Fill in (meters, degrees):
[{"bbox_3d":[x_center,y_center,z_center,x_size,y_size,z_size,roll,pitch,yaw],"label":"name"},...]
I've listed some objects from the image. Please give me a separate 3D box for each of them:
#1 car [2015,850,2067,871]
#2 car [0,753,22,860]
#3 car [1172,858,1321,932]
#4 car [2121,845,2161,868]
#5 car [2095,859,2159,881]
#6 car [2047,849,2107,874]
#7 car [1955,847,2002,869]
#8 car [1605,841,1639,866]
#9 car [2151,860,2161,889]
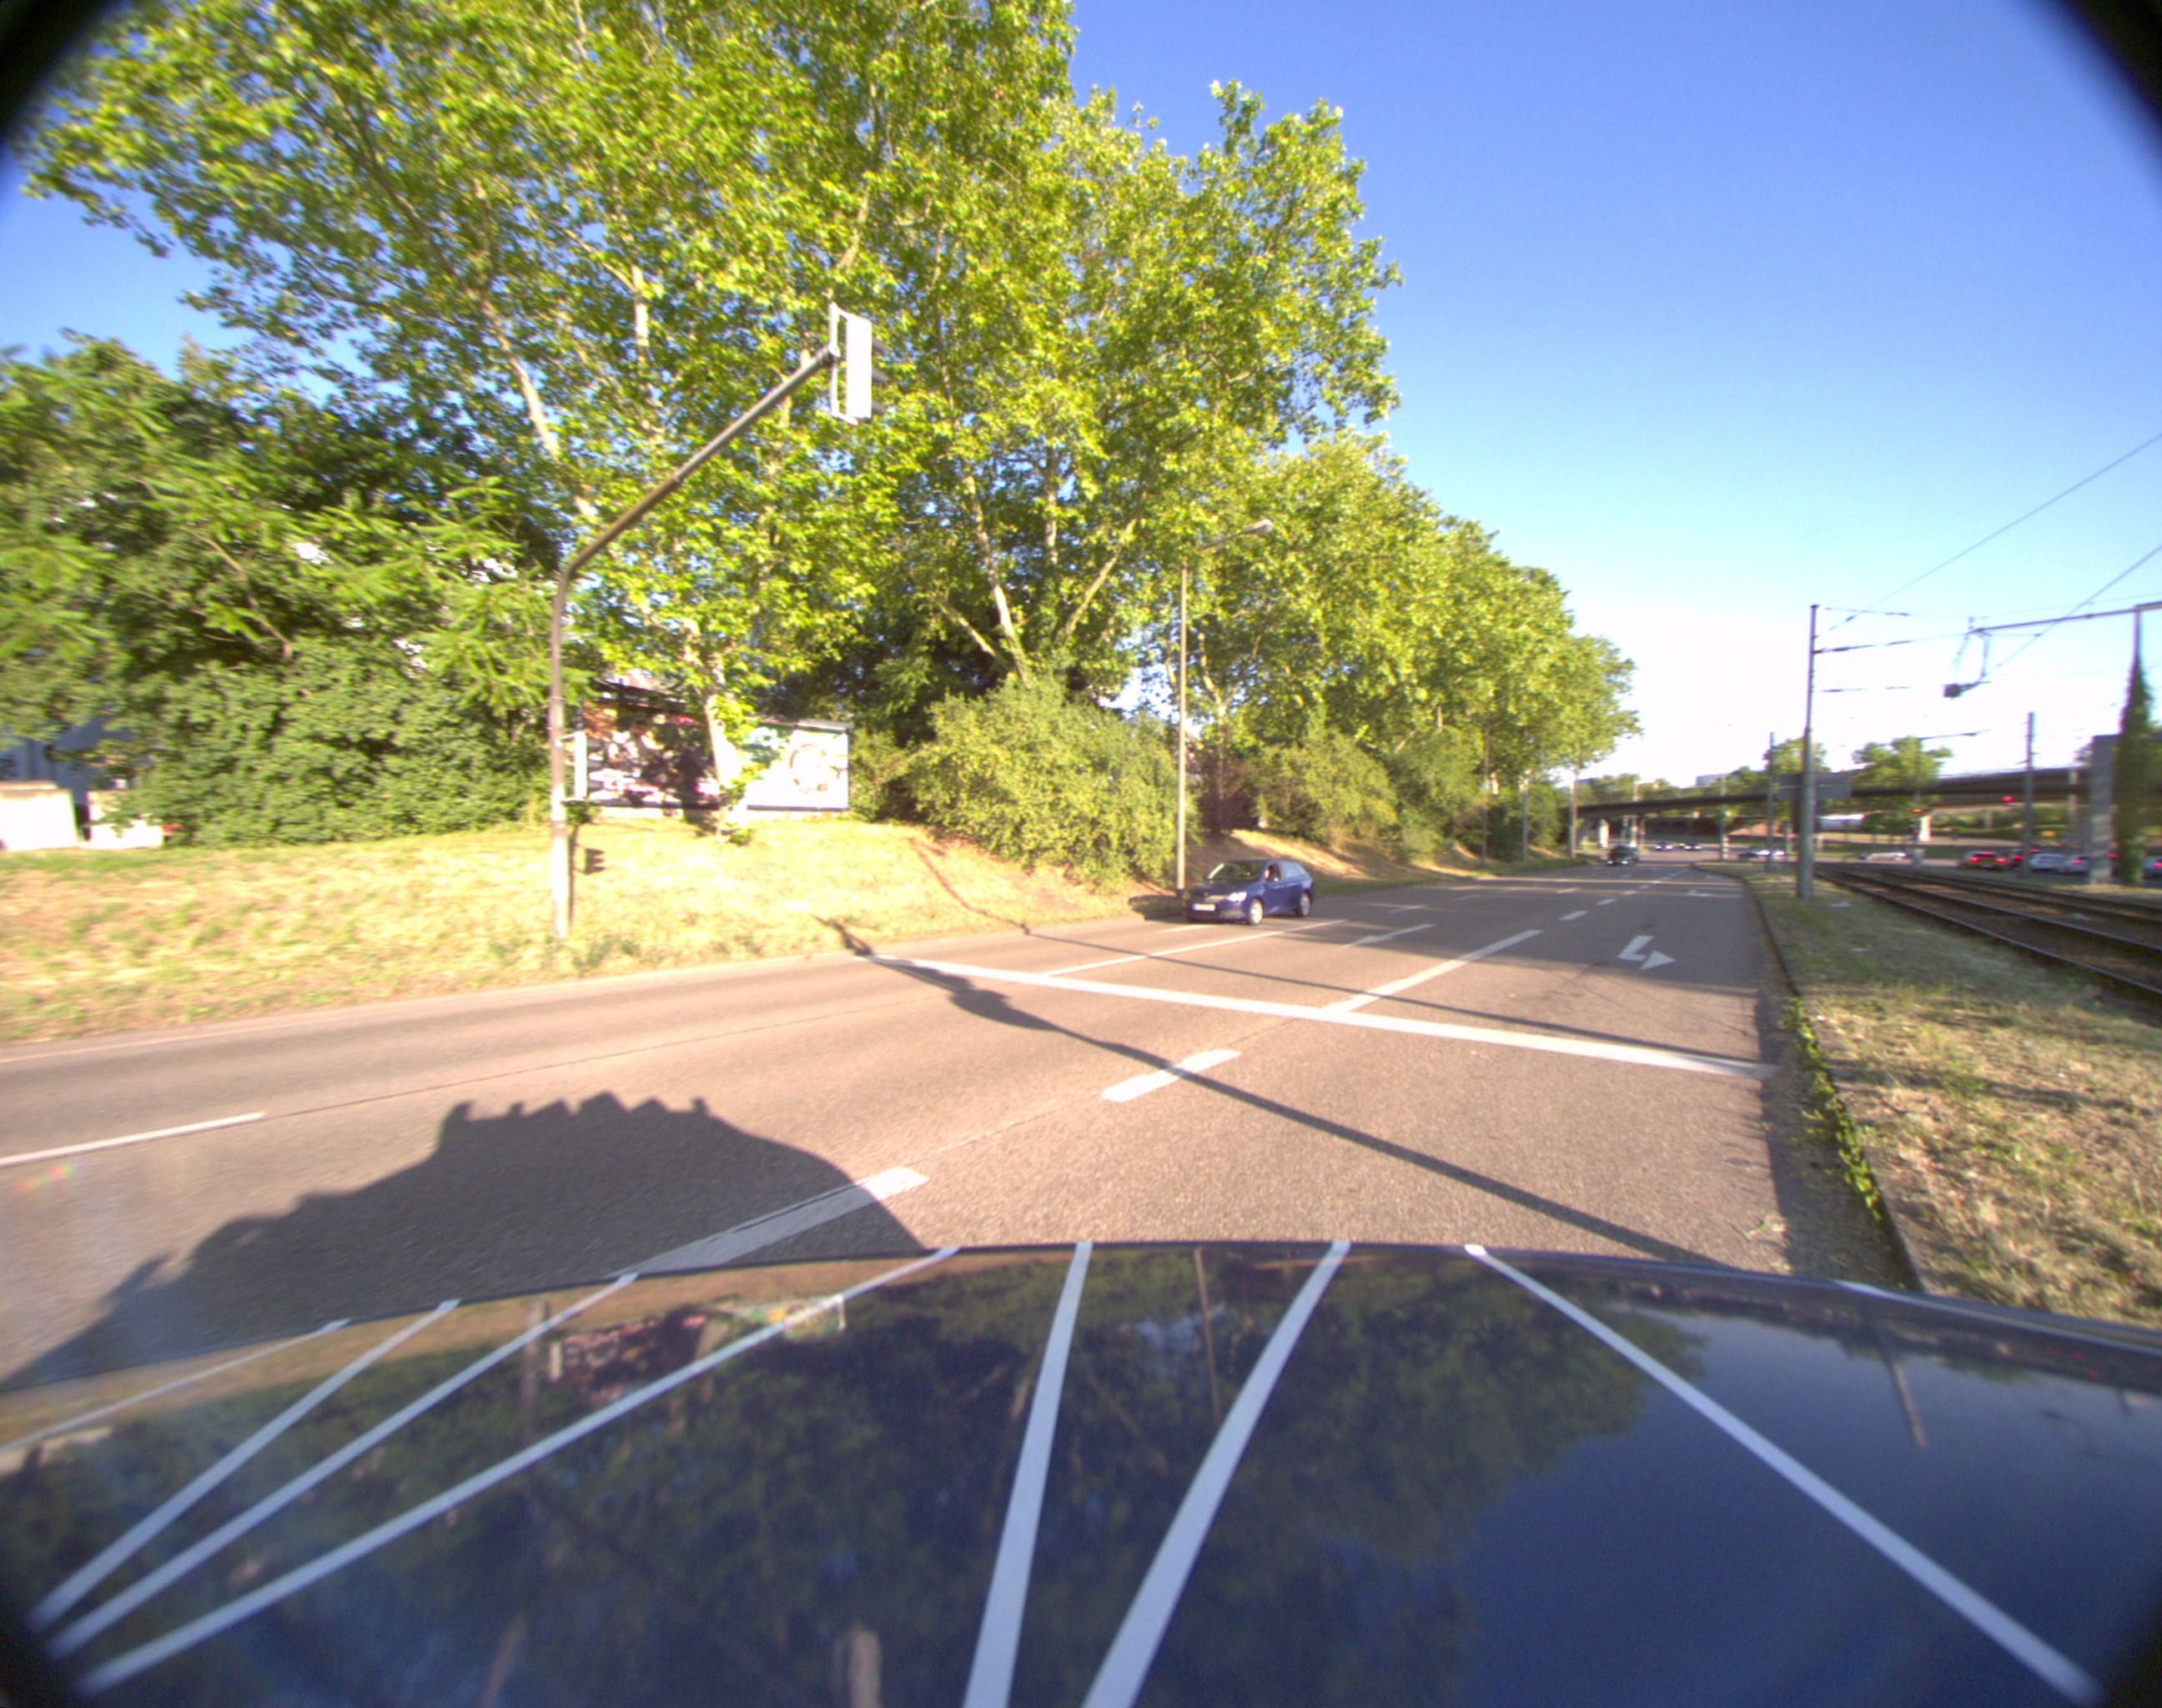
[{"bbox_3d":[71.700,0.444,56.816,1.742,1.424,4.420,4,4,43],"label":"car"},{"bbox_3d":[-27.640,-1.064,16.175,5.639,2.498,1.801,-2,1,-44],"label":"car"},{"bbox_3d":[3.933,0.855,17.626,1.625,1.434,3.993,0,1,41],"label":"car"},{"bbox_3d":[71.229,0.141,50.407,1.793,1.473,4.008,0,1,41],"label":"car"},{"bbox_3d":[75.969,1.136,55.248,1.793,1.375,4.485,0,1,41],"label":"car"},{"bbox_3d":[67.310,0.480,51.407,1.663,1.556,4.199,0,1,41],"label":"car"},{"bbox_3d":[66.572,0.280,56.416,1.663,1.556,4.008,0,1,41],"label":"car"},{"bbox_3d":[48.446,-0.067,68.009,1.994,2.150,4.199,0,1,42],"label":"car"},{"bbox_3d":[66.113,1.278,45.297,1.793,1.740,4.008,0,1,41],"label":"car"}]
